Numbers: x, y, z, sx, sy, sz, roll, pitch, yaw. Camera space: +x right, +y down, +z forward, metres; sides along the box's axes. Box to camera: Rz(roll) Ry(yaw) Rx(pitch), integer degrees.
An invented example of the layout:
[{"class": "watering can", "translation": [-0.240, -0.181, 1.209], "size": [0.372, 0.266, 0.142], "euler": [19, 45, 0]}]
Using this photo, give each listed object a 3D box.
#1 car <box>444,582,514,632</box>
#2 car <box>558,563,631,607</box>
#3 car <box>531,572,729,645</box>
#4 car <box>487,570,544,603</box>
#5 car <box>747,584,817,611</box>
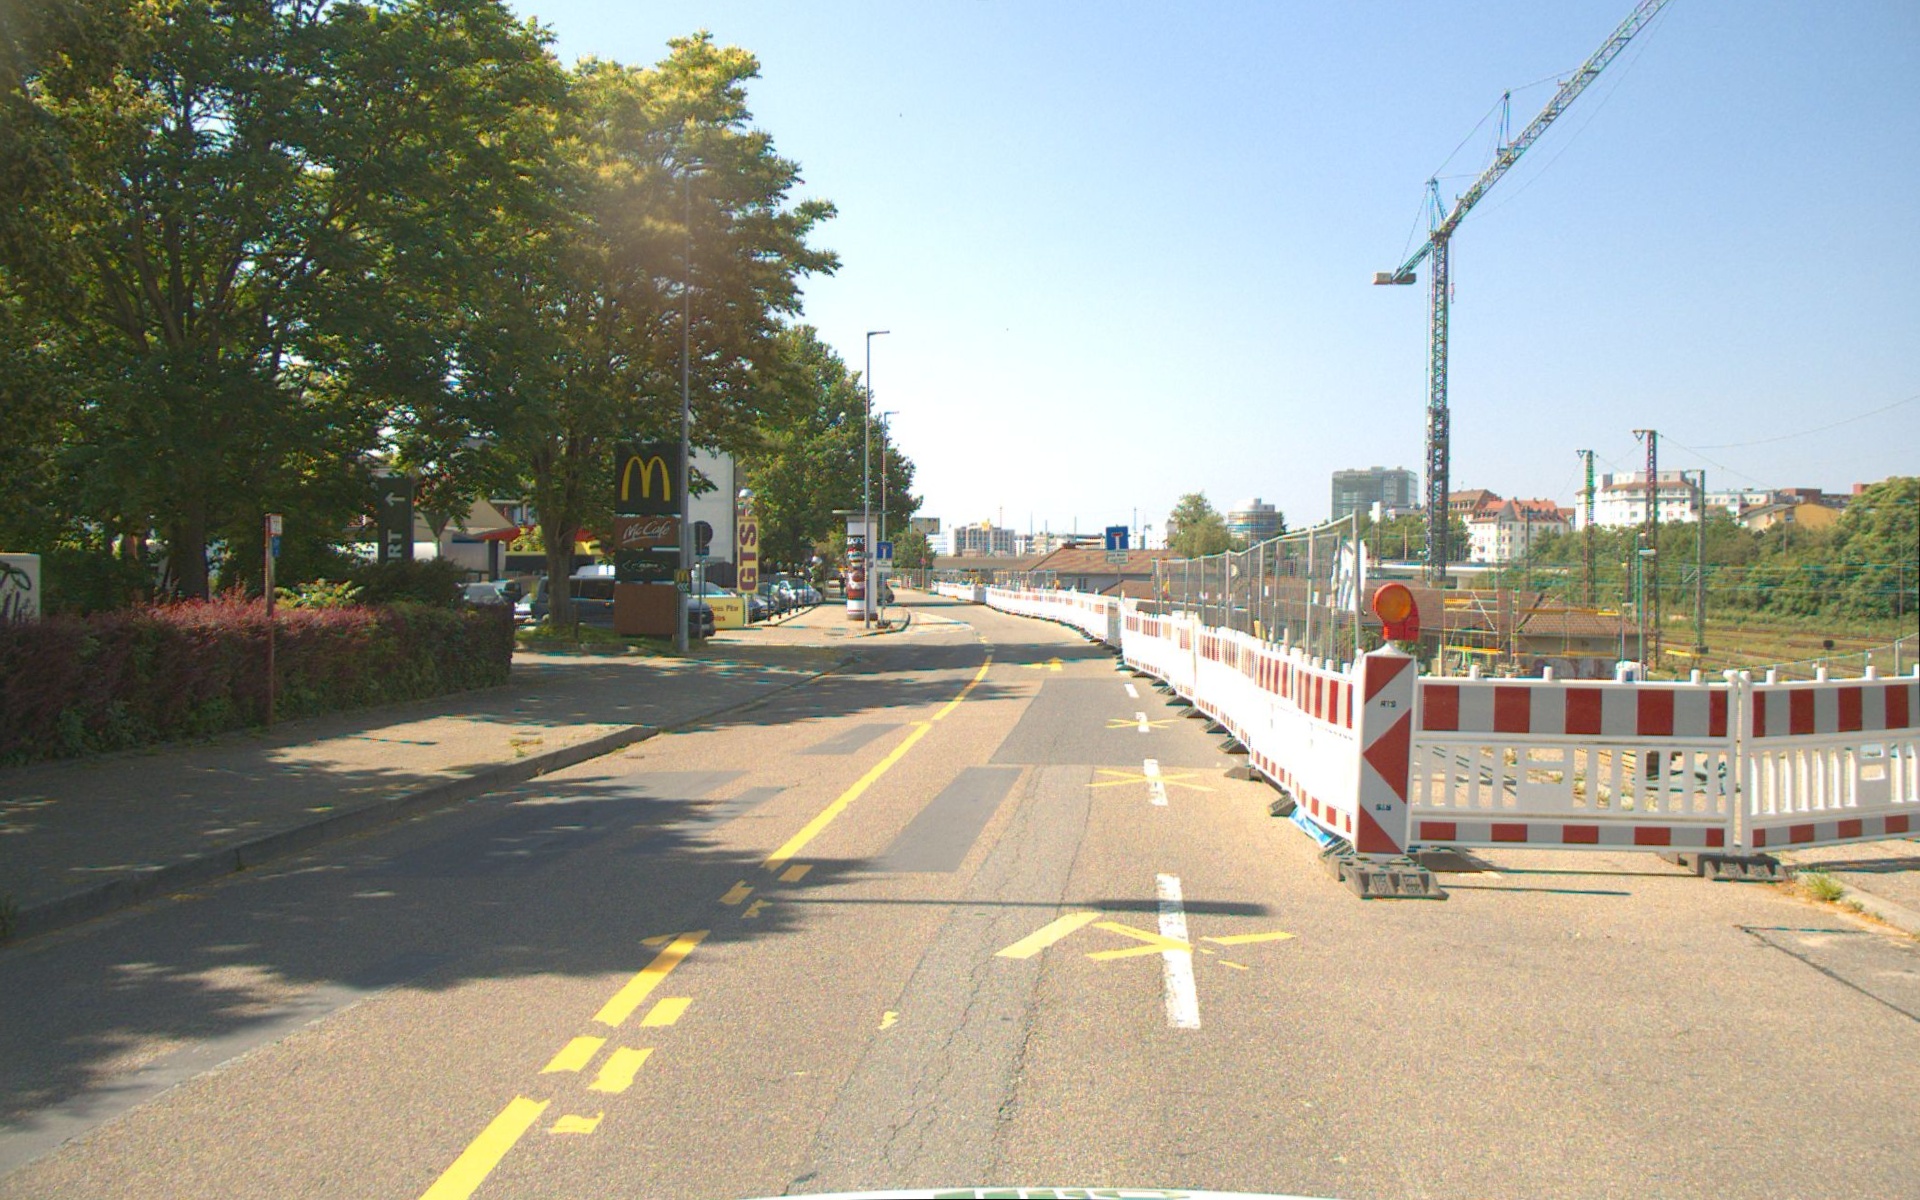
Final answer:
[{"class": "car", "translation": [-17.402, 0.217, 59.736], "size": [1.967, 1.758, 3.972], "euler": [0, 1, -23]}, {"class": "car", "translation": [-16.530, -0.662, 74.673], "size": [1.975, 1.937, 3.954], "euler": [0, 0, -33]}, {"class": "car", "translation": [-9.305, 0.204, 46.577], "size": [5.254, 1.969, 2.000], "euler": [0, 1, 22]}, {"class": "car", "translation": [-19.859, -0.595, 73.876], "size": [1.551, 1.445, 3.650], "euler": [0, 0, -30]}, {"class": "car", "translation": [-9.975, -0.134, 92.839], "size": [3.601, 1.445, 1.572], "euler": [1, 0, 23]}]
